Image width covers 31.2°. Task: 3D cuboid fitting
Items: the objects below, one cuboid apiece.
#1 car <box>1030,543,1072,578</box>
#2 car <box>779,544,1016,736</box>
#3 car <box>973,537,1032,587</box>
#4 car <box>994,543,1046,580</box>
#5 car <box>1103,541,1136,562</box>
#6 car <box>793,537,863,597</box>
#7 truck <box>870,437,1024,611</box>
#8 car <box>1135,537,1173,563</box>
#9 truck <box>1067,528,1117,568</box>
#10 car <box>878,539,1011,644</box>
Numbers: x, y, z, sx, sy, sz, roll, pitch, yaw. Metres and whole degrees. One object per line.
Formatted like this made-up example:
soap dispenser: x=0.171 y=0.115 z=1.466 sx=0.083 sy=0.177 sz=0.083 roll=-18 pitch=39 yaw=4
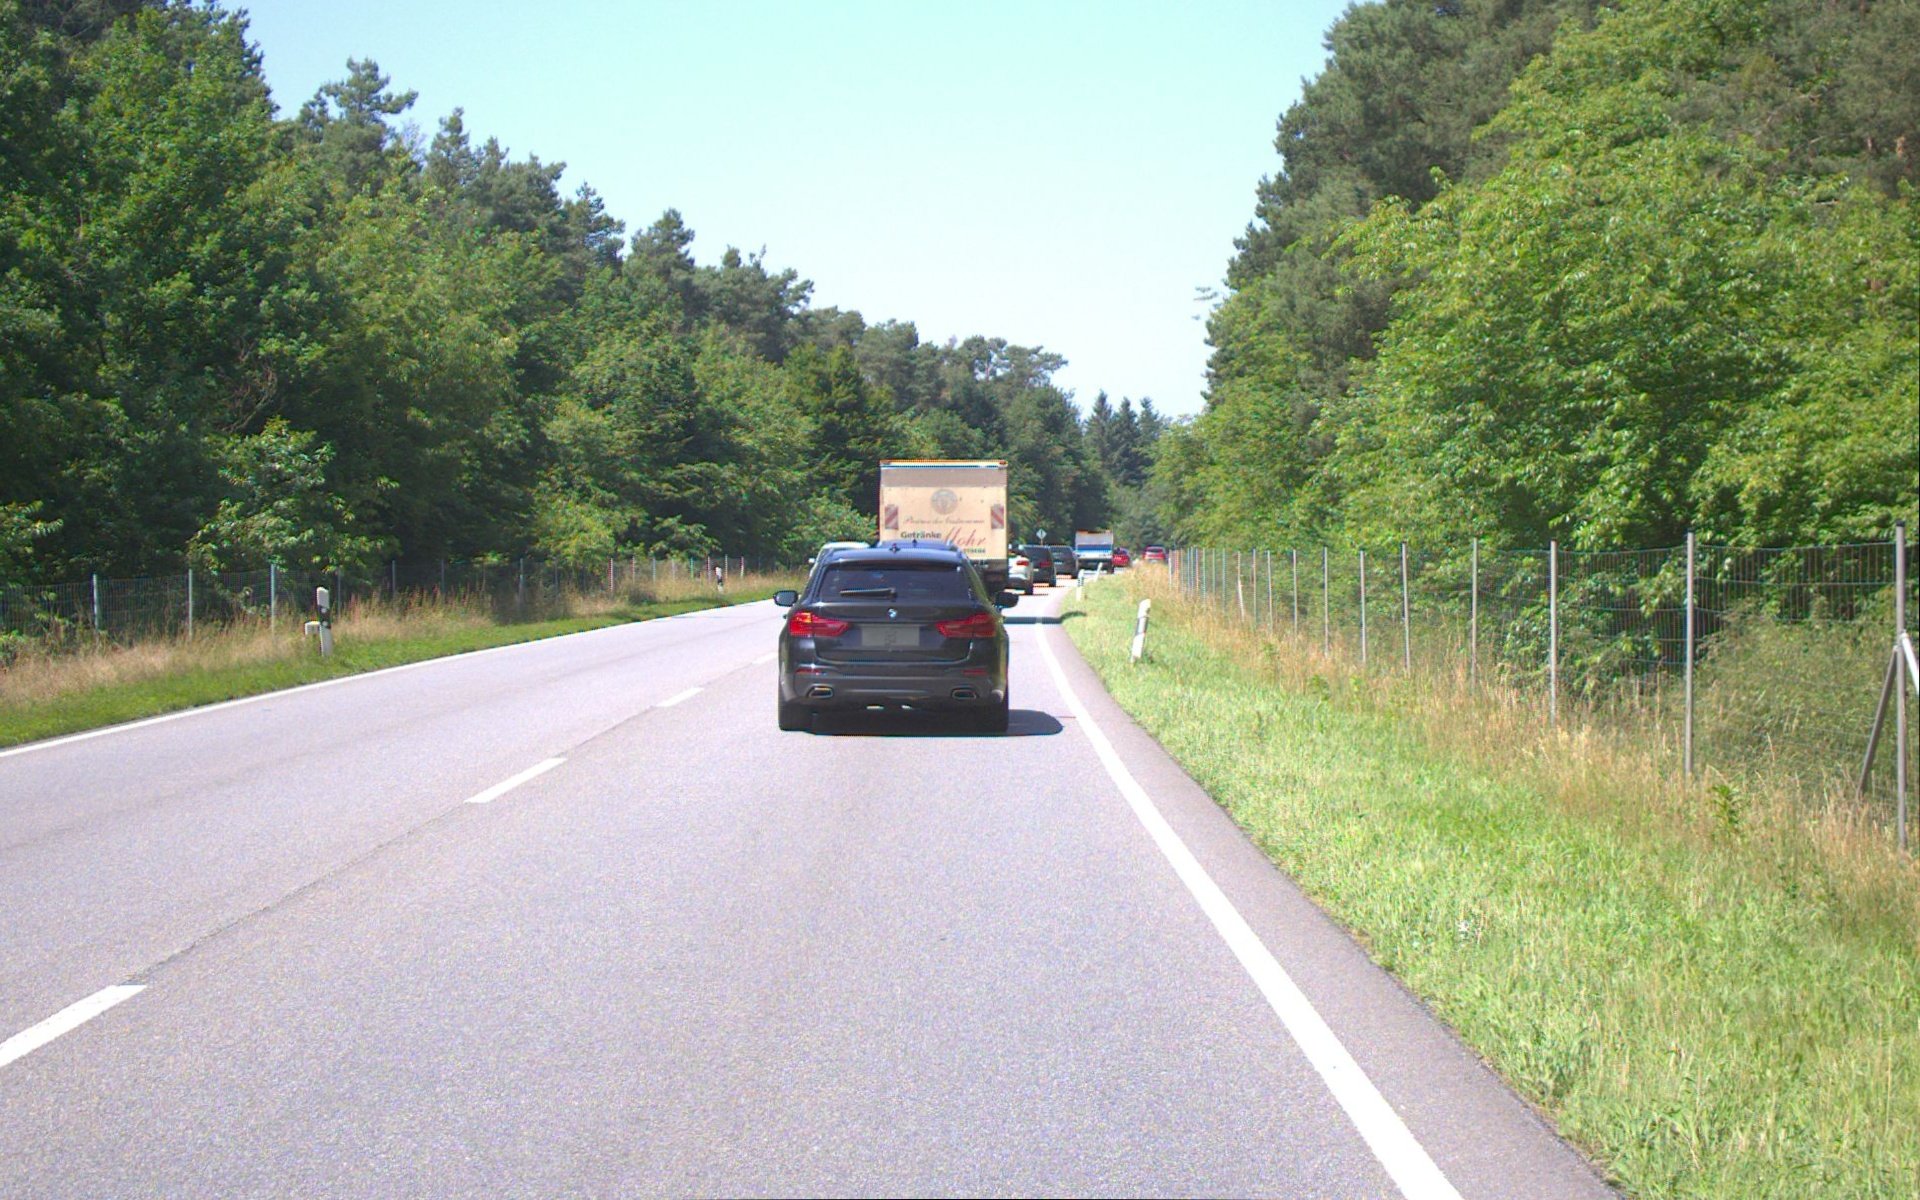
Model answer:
car: x=4.459 y=-1.932 z=168.230 sx=1.994 sy=1.631 sz=4.000 roll=-1 pitch=1 yaw=2
car: x=-0.501 y=0.275 z=28.523 sx=1.820 sy=1.465 sz=4.000 roll=0 pitch=1 yaw=-1
car: x=1.398 y=-1.240 z=110.966 sx=1.863 sy=1.600 sz=4.000 roll=0 pitch=1 yaw=1
car: x=2.337 y=-1.507 z=134.183 sx=1.993 sy=1.415 sz=4.000 roll=0 pitch=1 yaw=1
car: x=10.489 y=-3.205 z=226.392 sx=1.795 sy=1.349 sz=3.927 roll=0 pitch=1 yaw=8
car: x=-3.698 y=-0.941 z=95.925 sx=1.863 sy=1.623 sz=4.093 roll=0 pitch=1 yaw=-3
truck: x=-0.276 y=-1.548 z=70.710 sx=2.965 sy=3.376 sz=6.438 roll=-1 pitch=1 yaw=0
car: x=14.580 y=-3.773 z=258.405 sx=2.348 sy=1.878 sz=4.630 roll=0 pitch=1 yaw=9
truck: x=7.535 y=-2.957 z=195.413 sx=2.564 sy=2.195 sz=4.973 roll=0 pitch=1 yaw=6
car: x=-0.210 y=-0.162 z=53.776 sx=1.947 sy=1.536 sz=4.000 roll=-1 pitch=1 yaw=1
